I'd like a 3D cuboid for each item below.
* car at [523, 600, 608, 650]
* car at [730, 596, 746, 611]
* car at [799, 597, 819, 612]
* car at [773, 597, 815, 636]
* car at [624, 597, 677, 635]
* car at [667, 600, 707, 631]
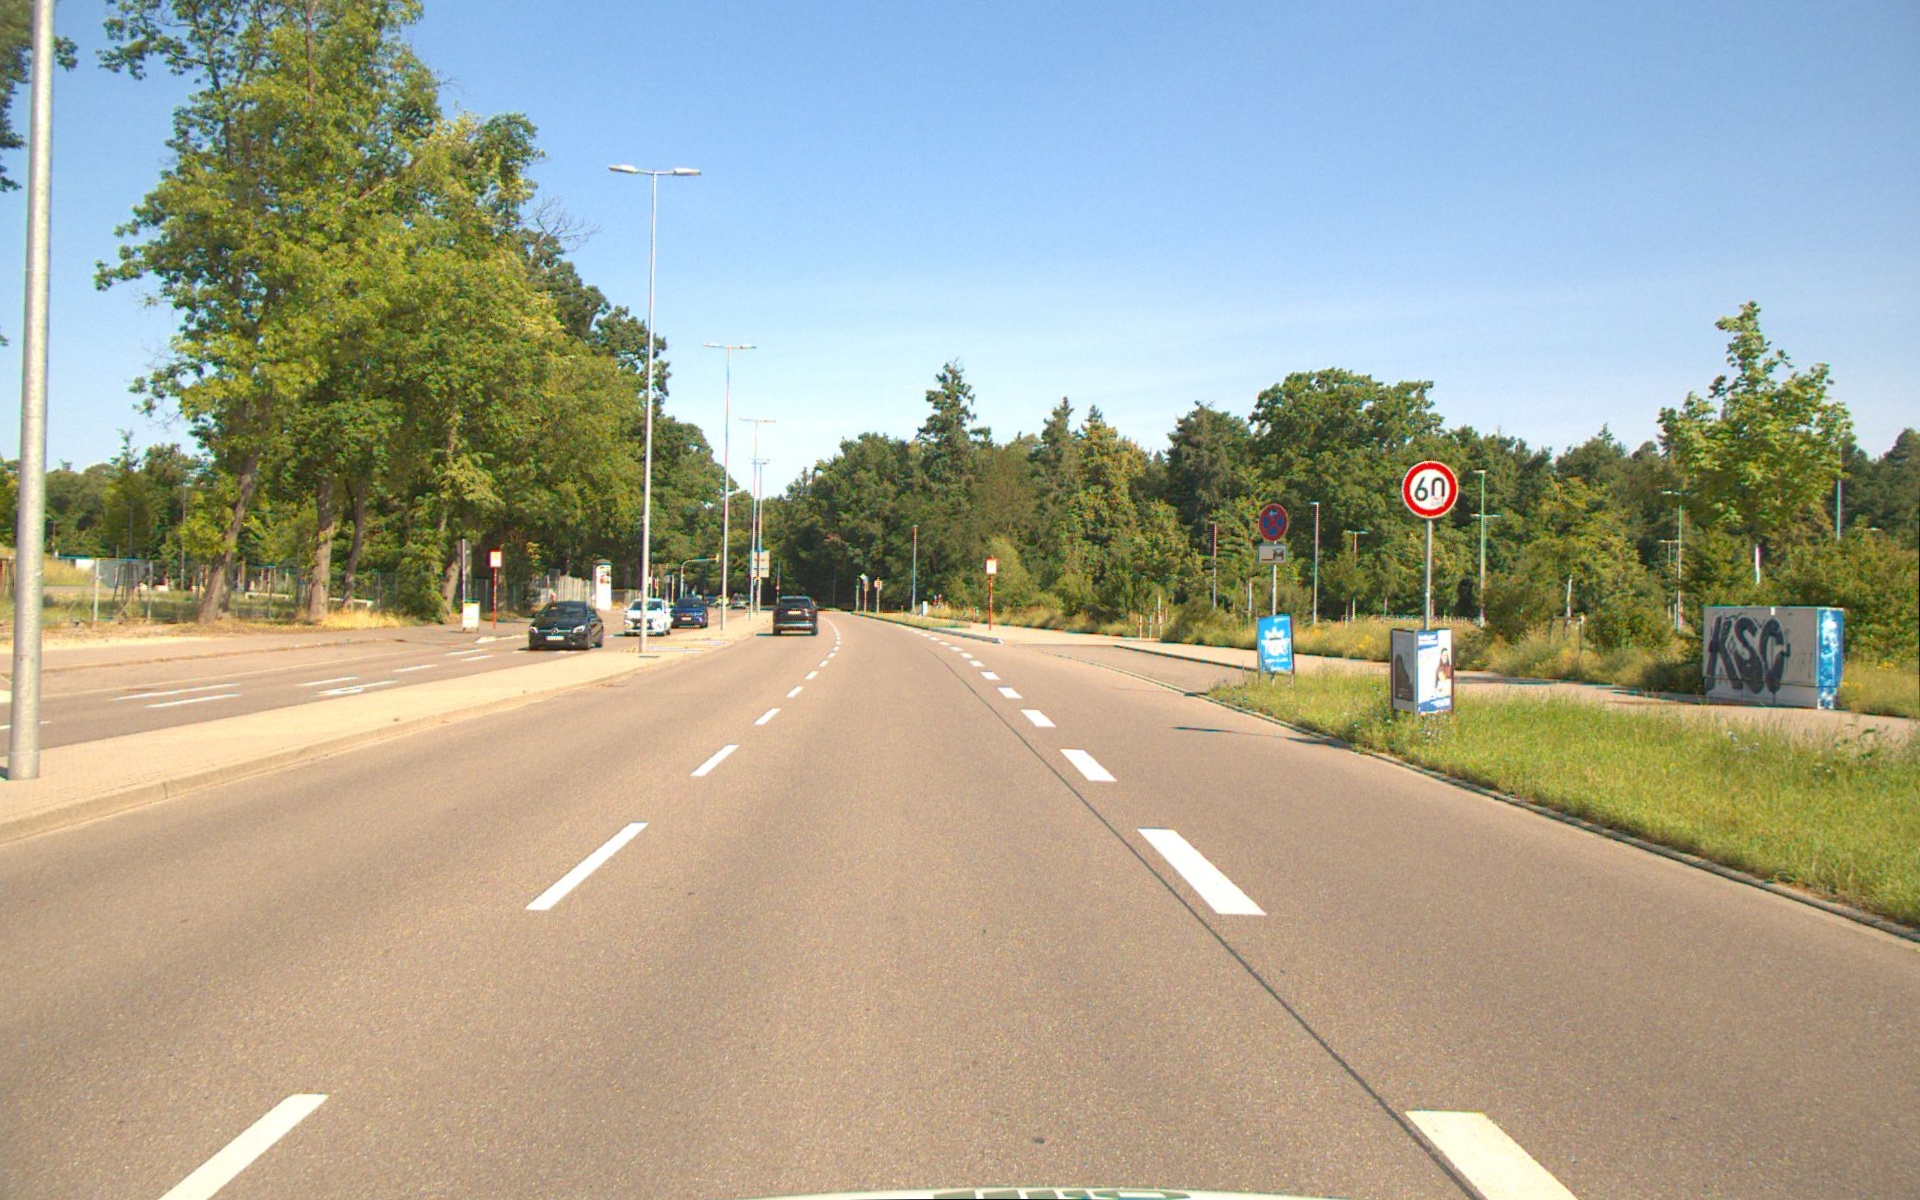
[{"bbox_3d":[-11.920,0.713,50.199,1.775,1.412,4.159,-1,0,-3],"label":"car"},{"bbox_3d":[-27.839,0.437,207.546,1.805,1.966,4.623,0,0,-6],"label":"car"},{"bbox_3d":[-16.072,0.479,176.260,1.904,1.445,4.285,1,0,-8],"label":"car"},{"bbox_3d":[-6.804,0.650,67.822,1.655,1.571,4.144,0,0,-5],"label":"car"},{"bbox_3d":[-12.612,0.641,67.570,1.591,1.492,3.798,-1,0,-3],"label":"car"},{"bbox_3d":[-14.191,0.792,86.187,1.719,1.512,3.943,-1,0,-5],"label":"car"}]
